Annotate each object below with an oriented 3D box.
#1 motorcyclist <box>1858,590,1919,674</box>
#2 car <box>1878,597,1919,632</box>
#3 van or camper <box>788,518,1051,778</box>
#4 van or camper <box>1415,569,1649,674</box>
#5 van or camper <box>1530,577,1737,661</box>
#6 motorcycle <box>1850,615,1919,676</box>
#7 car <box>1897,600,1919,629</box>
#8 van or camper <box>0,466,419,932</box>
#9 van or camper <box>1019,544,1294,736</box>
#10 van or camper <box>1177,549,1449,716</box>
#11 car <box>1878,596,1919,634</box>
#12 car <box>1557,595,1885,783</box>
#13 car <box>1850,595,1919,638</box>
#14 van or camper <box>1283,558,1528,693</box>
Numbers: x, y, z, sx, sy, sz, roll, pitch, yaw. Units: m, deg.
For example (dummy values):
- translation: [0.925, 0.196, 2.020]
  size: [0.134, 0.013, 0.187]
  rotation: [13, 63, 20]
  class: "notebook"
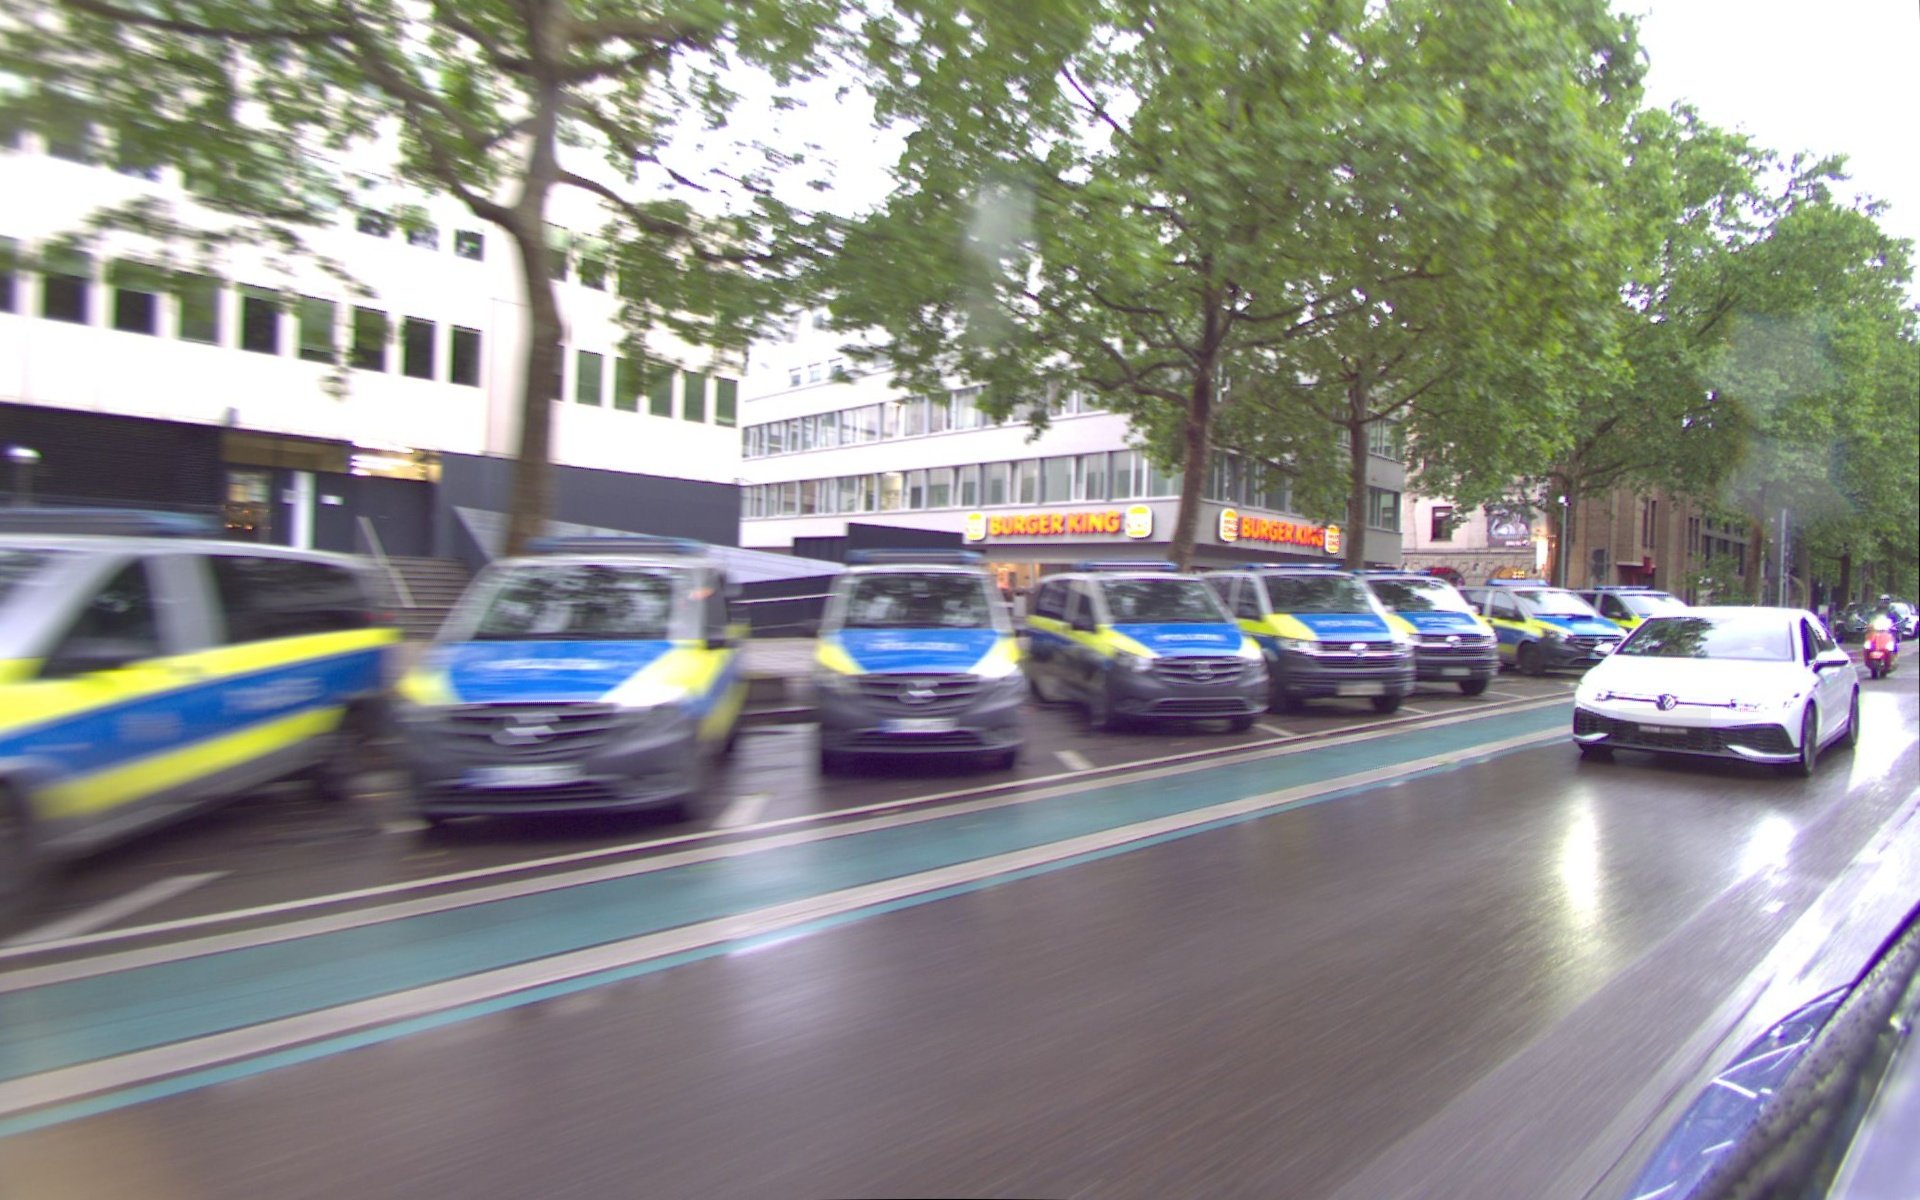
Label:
- translation: [19.117, 0.636, 20.801]
  size: [0.842, 1.665, 0.862]
  rotation: [0, 0, 31]
  class: "motorcyclist"
- translation: [45.077, 0.655, 47.954]
  size: [4.484, 1.609, 1.995]
  rotation: [0, 0, -43]
  class: "car"
- translation: [-0.466, 0.356, 10.613]
  size: [2.064, 2.050, 5.111]
  rotation: [1, 1, -3]
  class: "van or camper"
- translation: [12.351, 0.429, 22.355]
  size: [1.957, 2.045, 5.092]
  rotation: [0, 0, -4]
  class: "van or camper"
- translation: [17.595, 0.445, 26.807]
  size: [1.963, 2.017, 4.950]
  rotation: [0, 0, -3]
  class: "van or camper"
- translation: [19.125, 0.900, 20.826]
  size: [0.862, 1.157, 1.999]
  rotation: [0, 0, 31]
  class: "motorcycle"
- translation: [49.278, 0.716, 51.561]
  size: [4.505, 1.451, 1.745]
  rotation: [0, 0, -41]
  class: "car"
- translation: [-5.321, 0.431, 5.967]
  size: [1.960, 2.017, 5.215]
  rotation: [0, 0, -6]
  class: "van or camper"
- translation: [2.257, 0.386, 13.269]
  size: [1.959, 2.020, 5.032]
  rotation: [0, 1, -8]
  class: "van or camper"
- translation: [4.863, 0.369, 14.826]
  size: [1.960, 2.036, 4.800]
  rotation: [0, 1, -5]
  class: "van or camper"
- translation: [41.578, 0.620, 44.422]
  size: [1.752, 1.605, 4.339]
  rotation: [0, 0, 44]
  class: "car"
- translation: [7.799, 0.705, 10.200]
  size: [4.432, 1.463, 1.864]
  rotation: [0, 1, -42]
  class: "car"
- translation: [37.696, 0.634, 41.145]
  size: [4.348, 1.623, 1.795]
  rotation: [0, 0, -43]
  class: "car"
- translation: [7.502, 0.367, 17.681]
  size: [1.831, 2.023, 4.859]
  rotation: [0, 1, -4]
  class: "van or camper"
